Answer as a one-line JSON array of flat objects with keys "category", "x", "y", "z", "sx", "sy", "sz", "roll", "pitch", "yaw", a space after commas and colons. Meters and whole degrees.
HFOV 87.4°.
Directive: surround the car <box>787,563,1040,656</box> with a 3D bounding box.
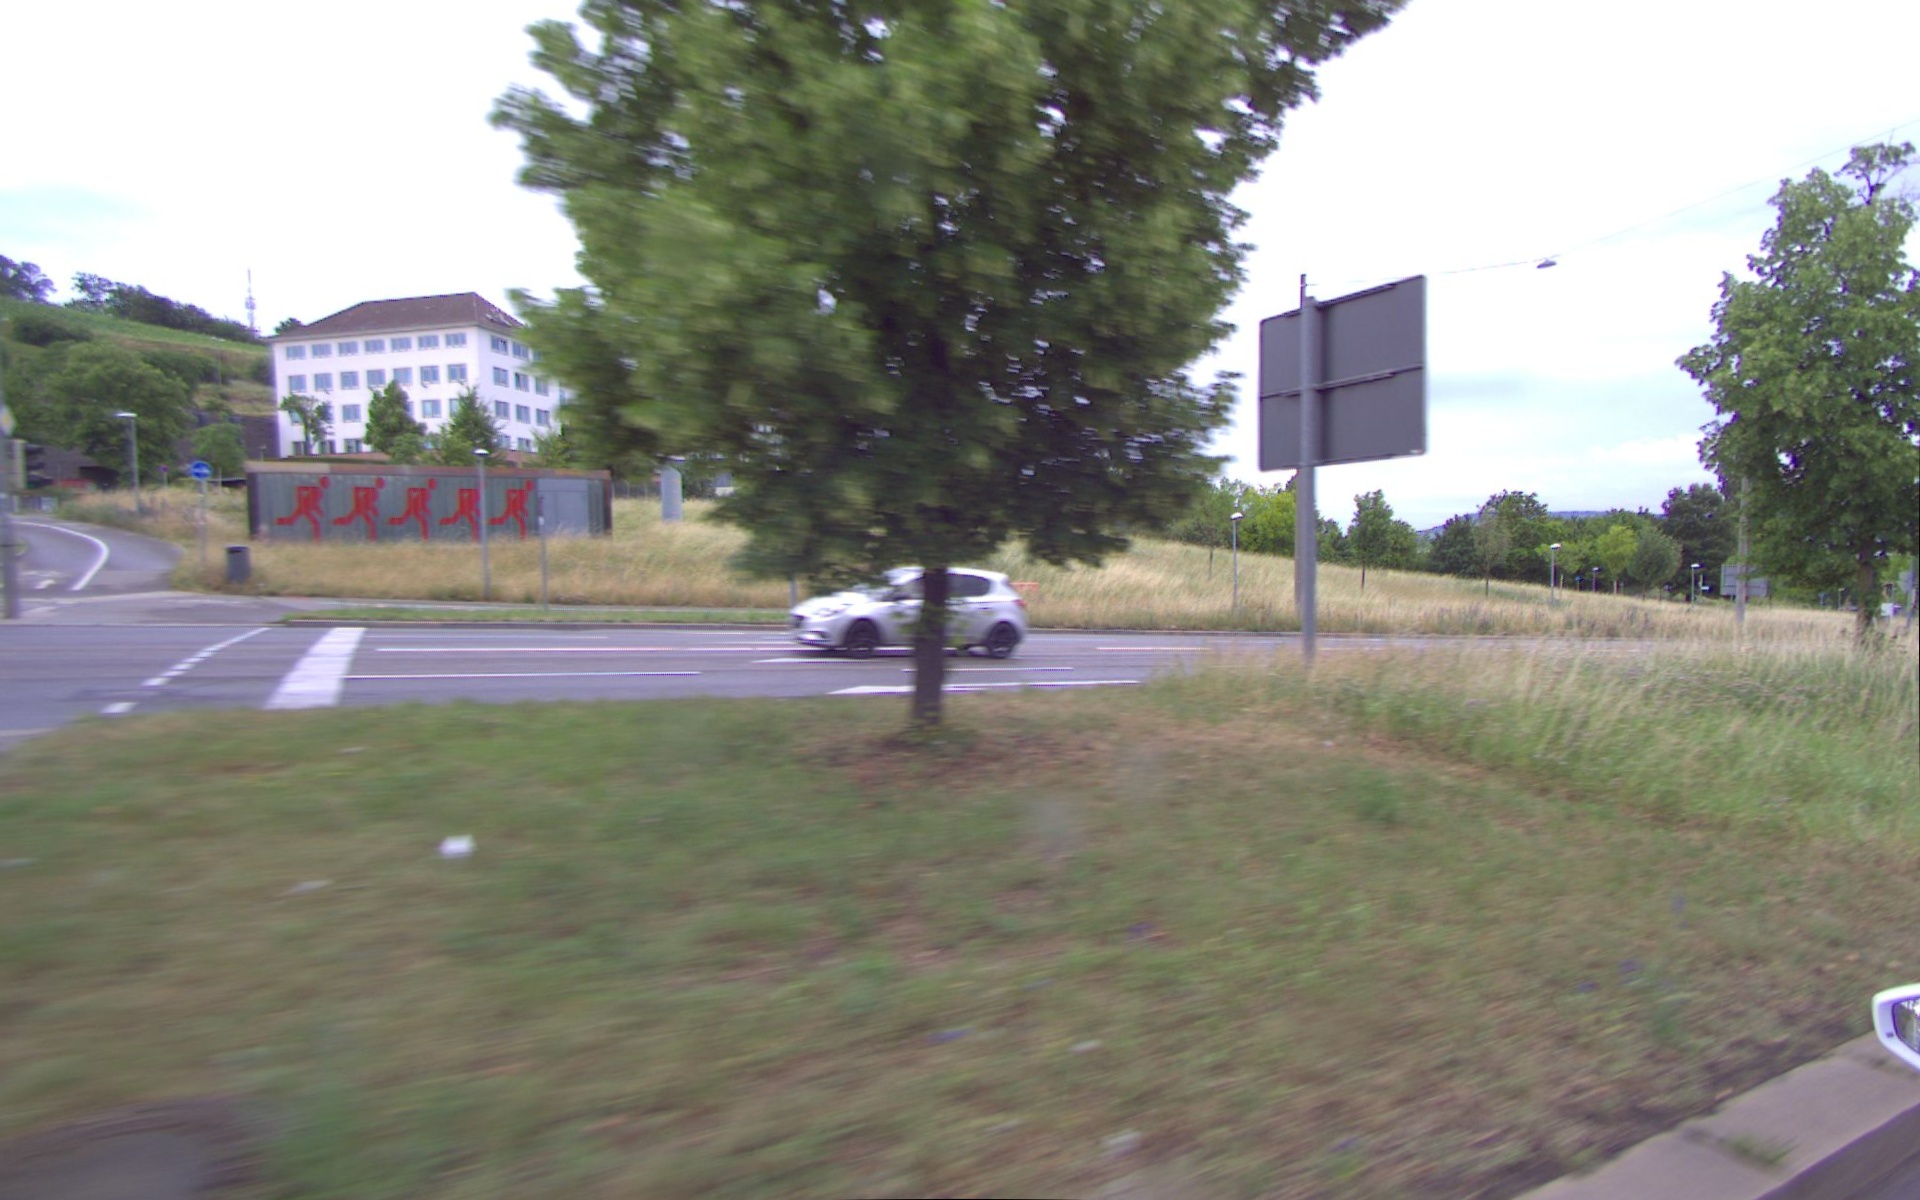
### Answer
[{"category": "car", "x": -0.759, "y": 0.170, "z": 16.651, "sx": 3.874, "sy": 1.407, "sz": 1.534, "roll": 2, "pitch": 1, "yaw": -25}]
